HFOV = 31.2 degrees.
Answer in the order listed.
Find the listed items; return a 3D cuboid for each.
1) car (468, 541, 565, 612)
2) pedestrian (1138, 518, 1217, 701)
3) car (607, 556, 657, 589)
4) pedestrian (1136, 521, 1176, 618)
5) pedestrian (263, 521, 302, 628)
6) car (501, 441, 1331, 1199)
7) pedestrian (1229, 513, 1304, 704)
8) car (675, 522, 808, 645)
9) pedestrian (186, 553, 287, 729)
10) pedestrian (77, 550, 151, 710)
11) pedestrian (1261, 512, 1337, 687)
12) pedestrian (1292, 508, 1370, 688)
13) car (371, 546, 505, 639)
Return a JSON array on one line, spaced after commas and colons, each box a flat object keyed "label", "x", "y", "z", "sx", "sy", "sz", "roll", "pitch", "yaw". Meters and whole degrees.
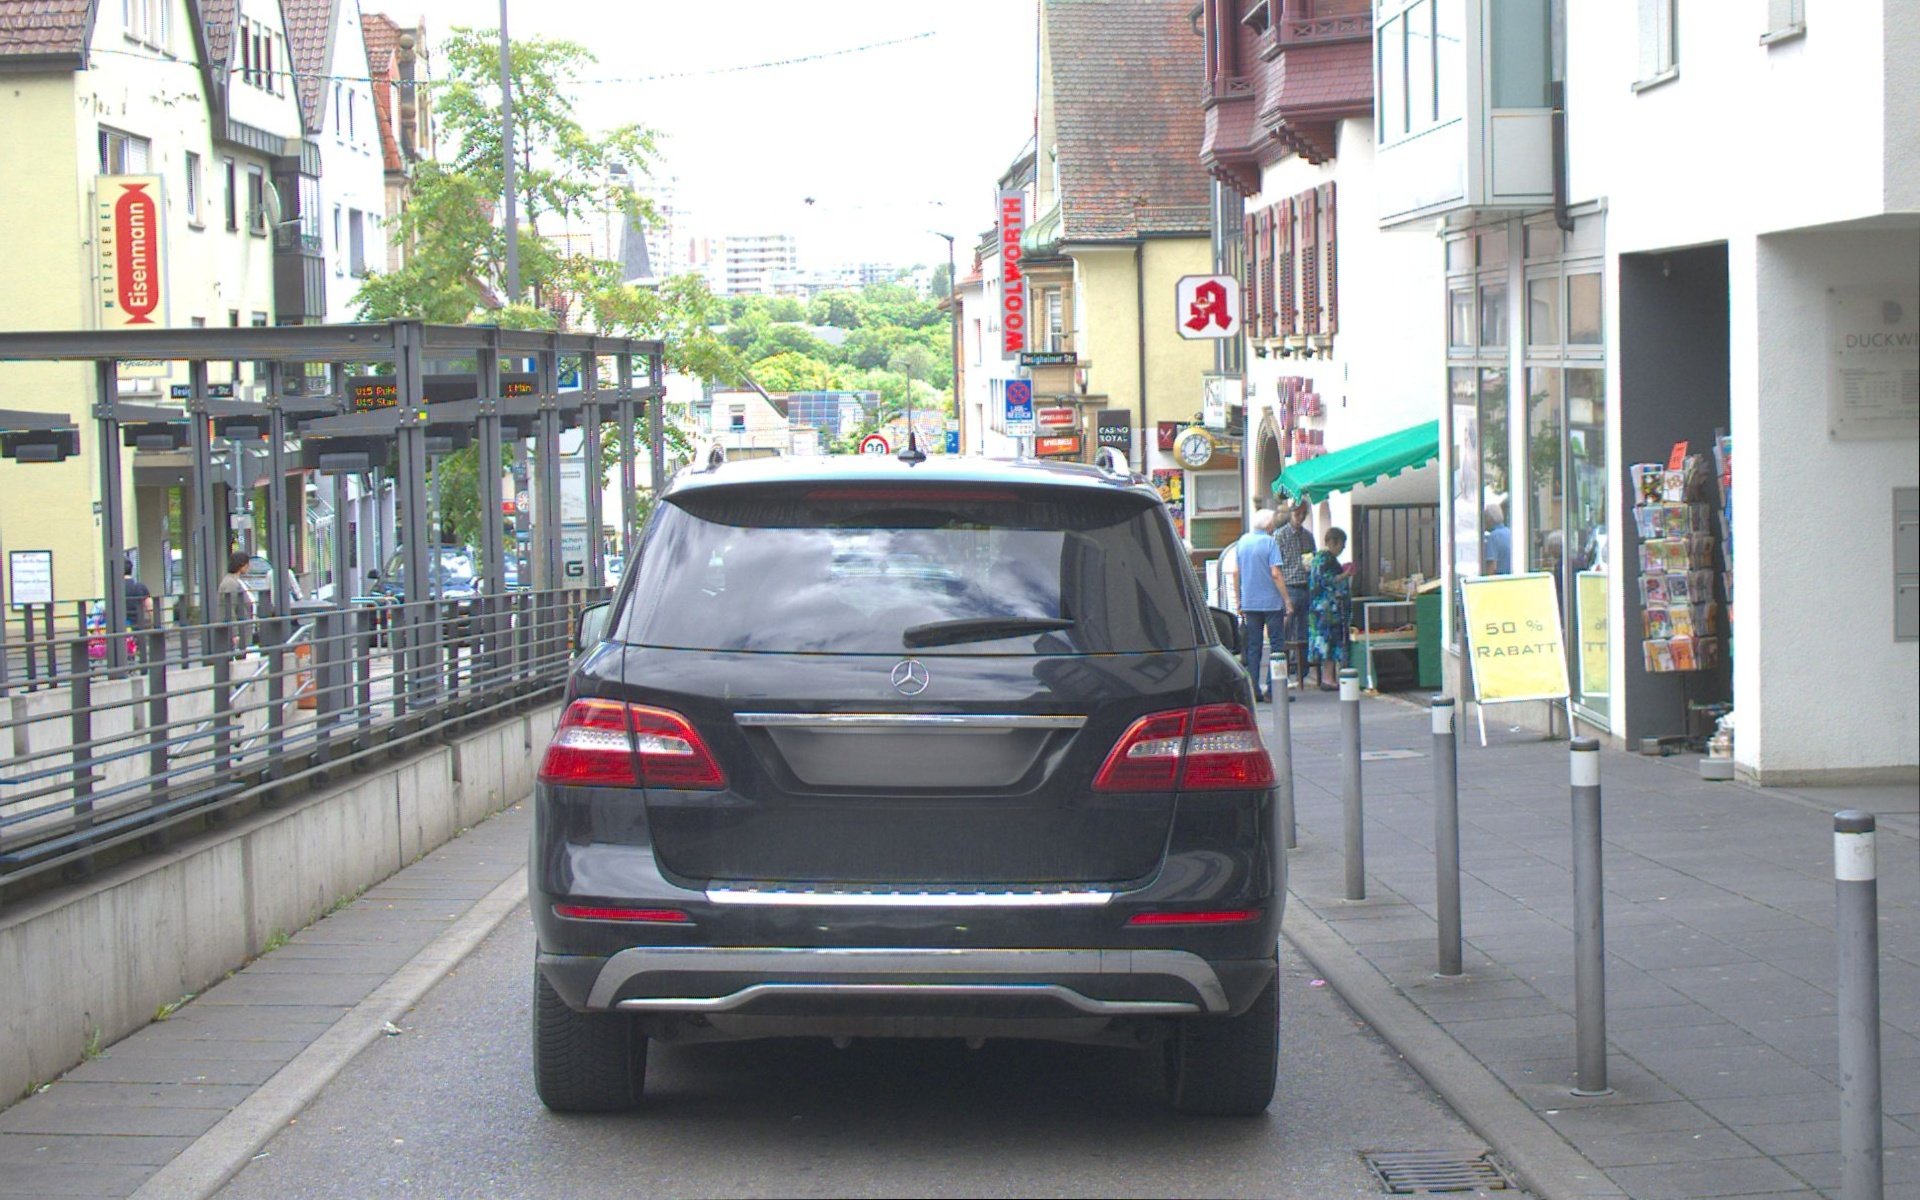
[{"label": "car", "x": -9.674, "y": -0.531, "z": 75.195, "sx": 1.660, "sy": 1.485, "sz": 3.748, "roll": 1, "pitch": 1, "yaw": -1}, {"label": "pedestrian", "x": 2.019, "y": 0.081, "z": 31.954, "sx": 0.621, "sy": 1.683, "sz": 0.566, "roll": 1, "pitch": 1, "yaw": -7}, {"label": "car", "x": -10.953, "y": -0.928, "z": 115.032, "sx": 1.388, "sy": 1.066, "sz": 3.113, "roll": -1, "pitch": 1, "yaw": -1}, {"label": "pedestrian", "x": 3.479, "y": -0.543, "z": 60.939, "sx": 0.606, "sy": 1.683, "sz": 0.724, "roll": -1, "pitch": 1, "yaw": -1}, {"label": "pedestrian", "x": -10.804, "y": -0.410, "z": 54.832, "sx": 0.513, "sy": 1.683, "sz": 0.541, "roll": 1, "pitch": 1, "yaw": -1}, {"label": "car", "x": -0.196, "y": 0.481, "z": 9.961, "sx": 1.900, "sy": 1.741, "sz": 4.001, "roll": 1, "pitch": 1, "yaw": -3}, {"label": "pedestrian", "x": 2.798, "y": 0.072, "z": 31.436, "sx": 0.542, "sy": 1.720, "sz": 0.528, "roll": -2, "pitch": 1, "yaw": -7}, {"label": "car", "x": -3.159, "y": -0.270, "z": 50.235, "sx": 1.770, "sy": 1.707, "sz": 4.000, "roll": 1, "pitch": 1, "yaw": -1}, {"label": "pedestrian", "x": -7.069, "y": 0.392, "z": 33.579, "sx": 0.765, "sy": 1.683, "sz": 0.727, "roll": 0, "pitch": 1, "yaw": -30}, {"label": "pedestrian", "x": -9.051, "y": 0.311, "z": 36.794, "sx": 0.625, "sy": 1.683, "sz": 0.679, "roll": 1, "pitch": 1, "yaw": -1}, {"label": "pedestrian", "x": 3.321, "y": -0.012, "z": 33.704, "sx": 0.573, "sy": 1.683, "sz": 0.566, "roll": -2, "pitch": 1, "yaw": -7}, {"label": "pedestrian", "x": 3.538, "y": -0.023, "z": 32.780, "sx": 0.573, "sy": 1.683, "sz": 0.566, "roll": -2, "pitch": 1, "yaw": -7}, {"label": "car", "x": -8.774, "y": -0.155, "z": 58.049, "sx": 1.689, "sy": 1.485, "sz": 3.979, "roll": 1, "pitch": 1, "yaw": -1}]
